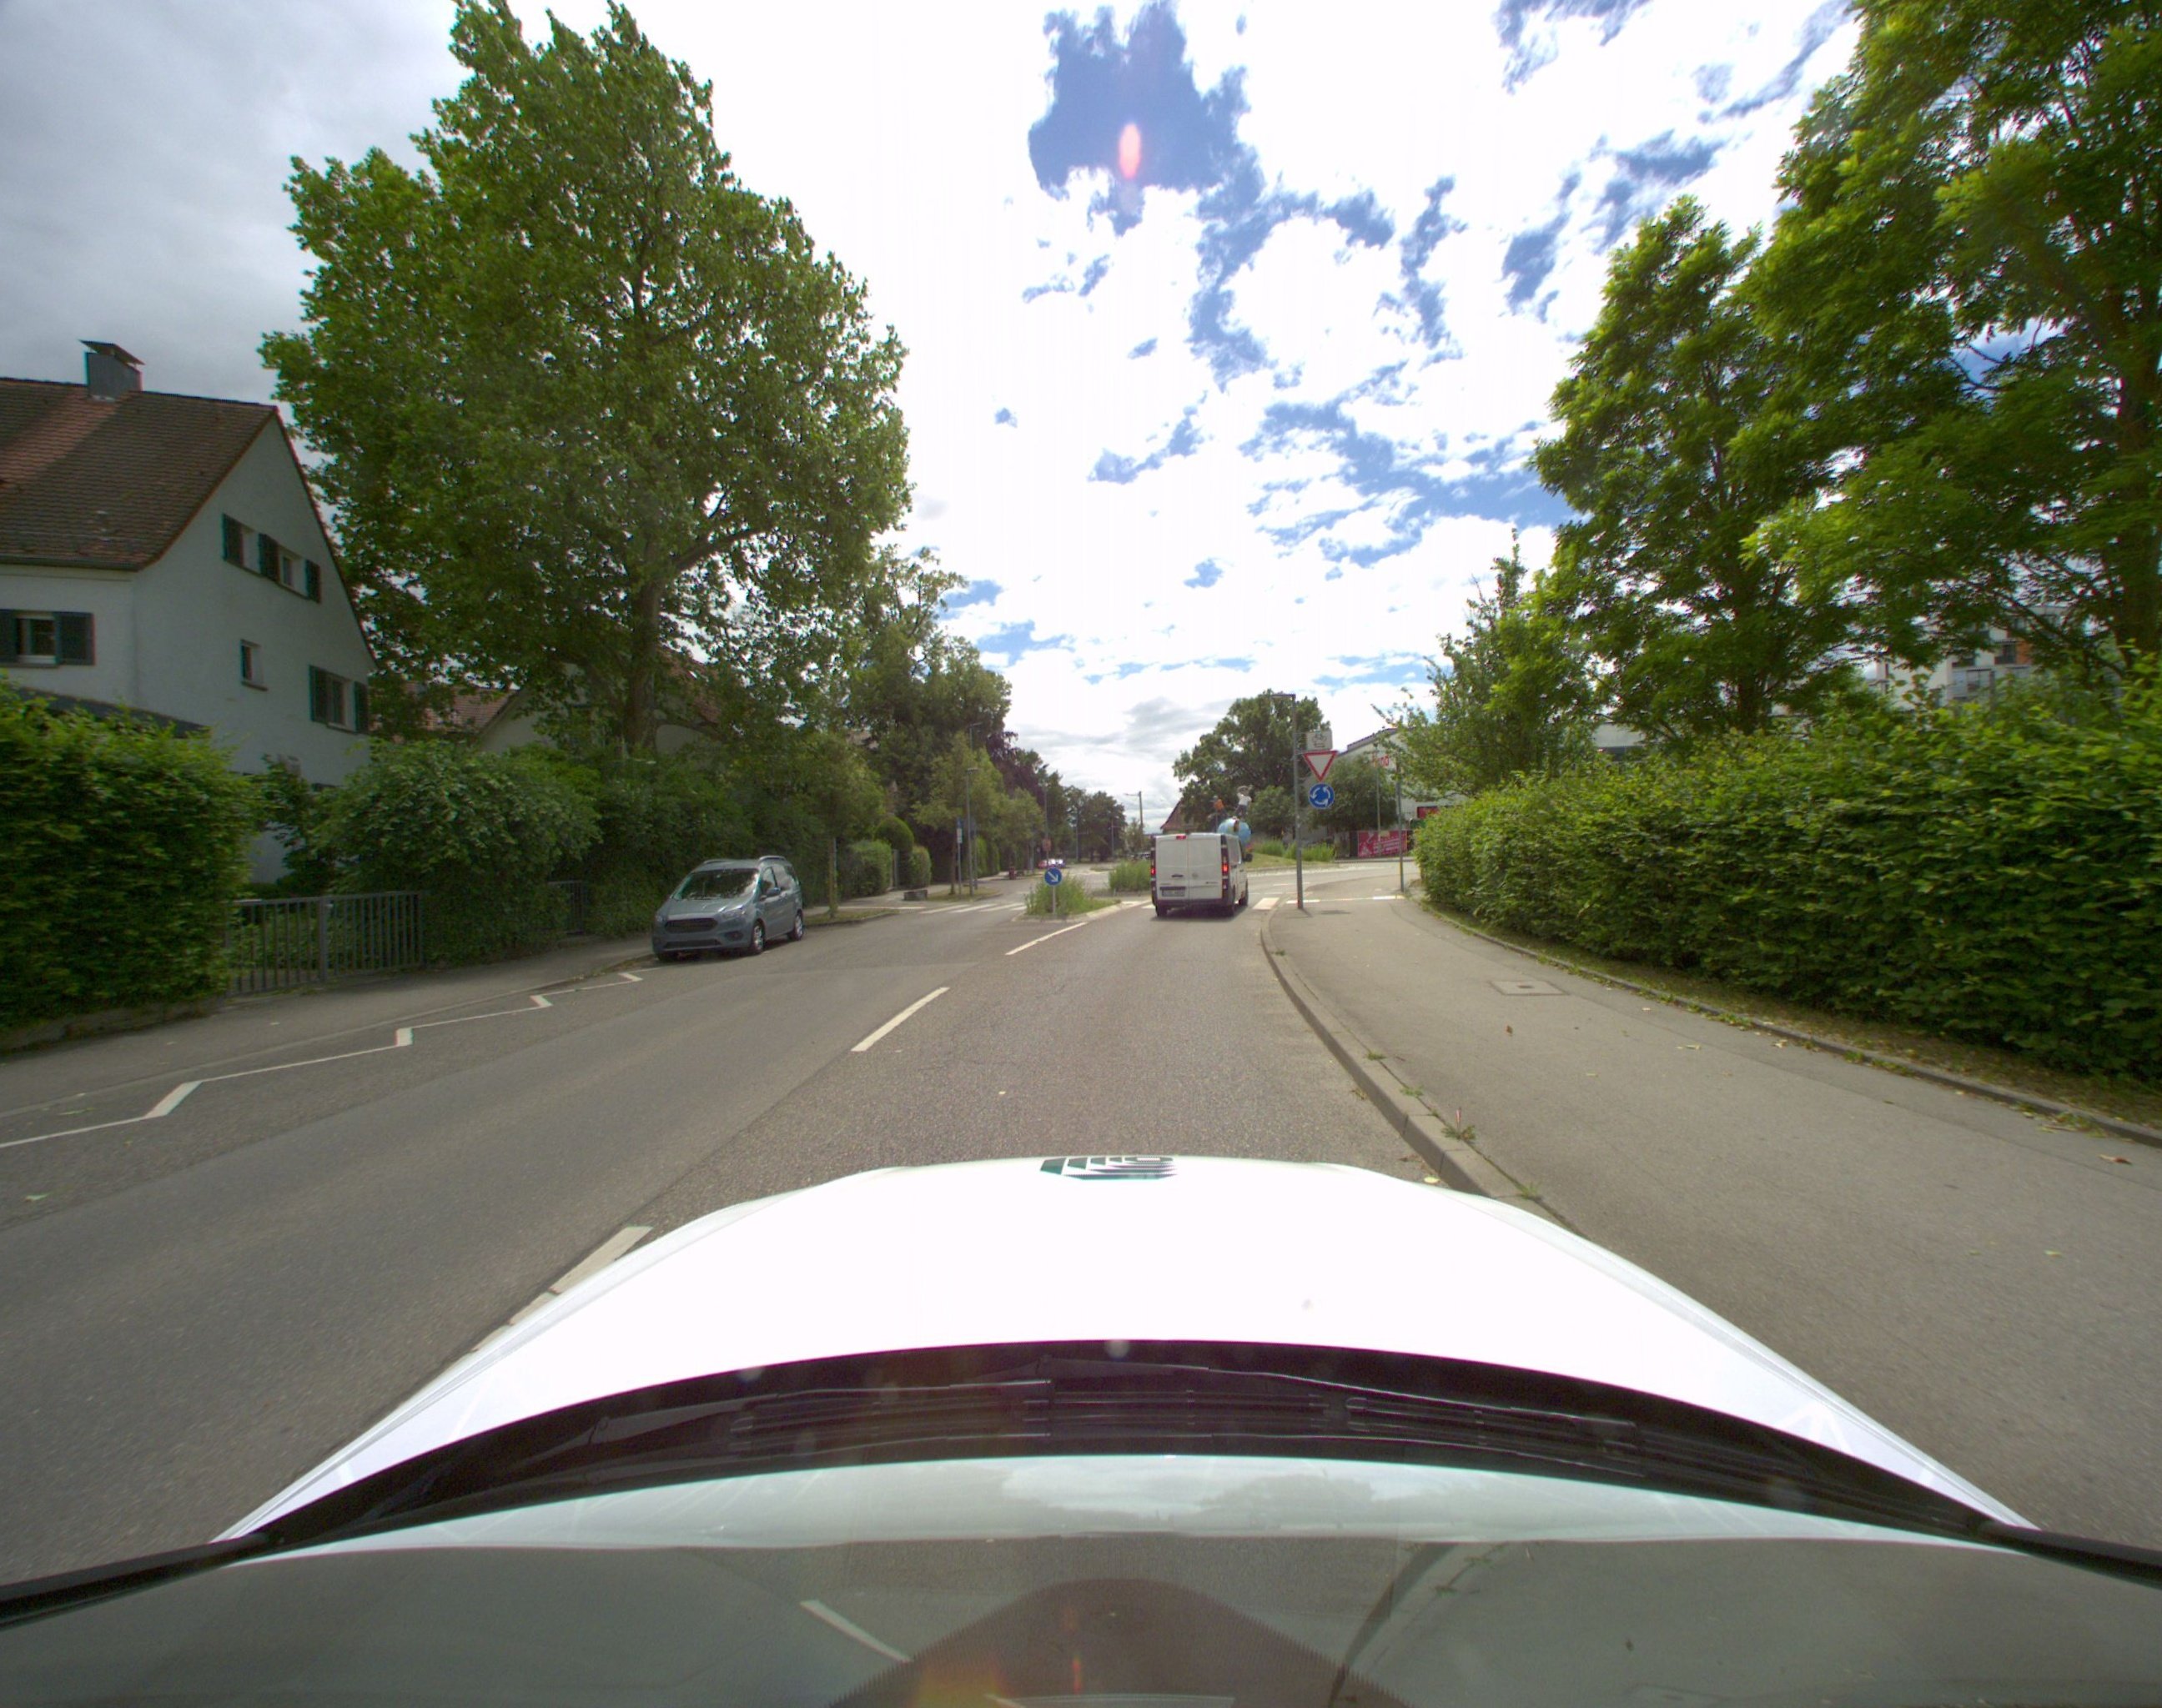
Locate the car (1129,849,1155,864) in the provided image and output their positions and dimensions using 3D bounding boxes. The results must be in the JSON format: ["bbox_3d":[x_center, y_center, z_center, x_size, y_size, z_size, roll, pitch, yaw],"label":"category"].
[{"bbox_3d":[6.448,0.251,86.283,1.919,1.500,3.913,-2,1,-9],"label":"car"}]

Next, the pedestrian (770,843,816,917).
[{"bbox_3d":[-8.275,0.732,23.417,0.870,2.013,1.040,-3,0,-2],"label":"pedestrian"}]

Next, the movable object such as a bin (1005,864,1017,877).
[{"bbox_3d":[-4.931,1.150,57.553,0.625,0.863,0.642,-4,0,12],"label":"movable object such as a bin"}]

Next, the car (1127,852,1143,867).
[{"bbox_3d":[6.917,0.664,104.559,1.889,1.744,3.929,-2,1,3],"label":"car"}]

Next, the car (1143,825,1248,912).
[{"bbox_3d":[3.069,0.293,20.814,2.019,1.945,5.014,0,1,15],"label":"car"}]

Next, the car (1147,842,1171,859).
[{"bbox_3d":[7.489,-0.379,78.686,1.926,1.537,3.925,-2,1,0],"label":"car"}]

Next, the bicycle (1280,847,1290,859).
[{"bbox_3d":[19.559,-0.101,78.046,0.538,1.049,1.970,0,1,2],"label":"bicycle"}]

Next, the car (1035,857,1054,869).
[{"bbox_3d":[-4.684,1.098,104.949,2.061,1.386,4.037,-2,1,-8],"label":"car"}]

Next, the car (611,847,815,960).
[{"bbox_3d":[-6.652,0.776,15.381,2.129,1.772,4.457,0,1,-5],"label":"car"}]
